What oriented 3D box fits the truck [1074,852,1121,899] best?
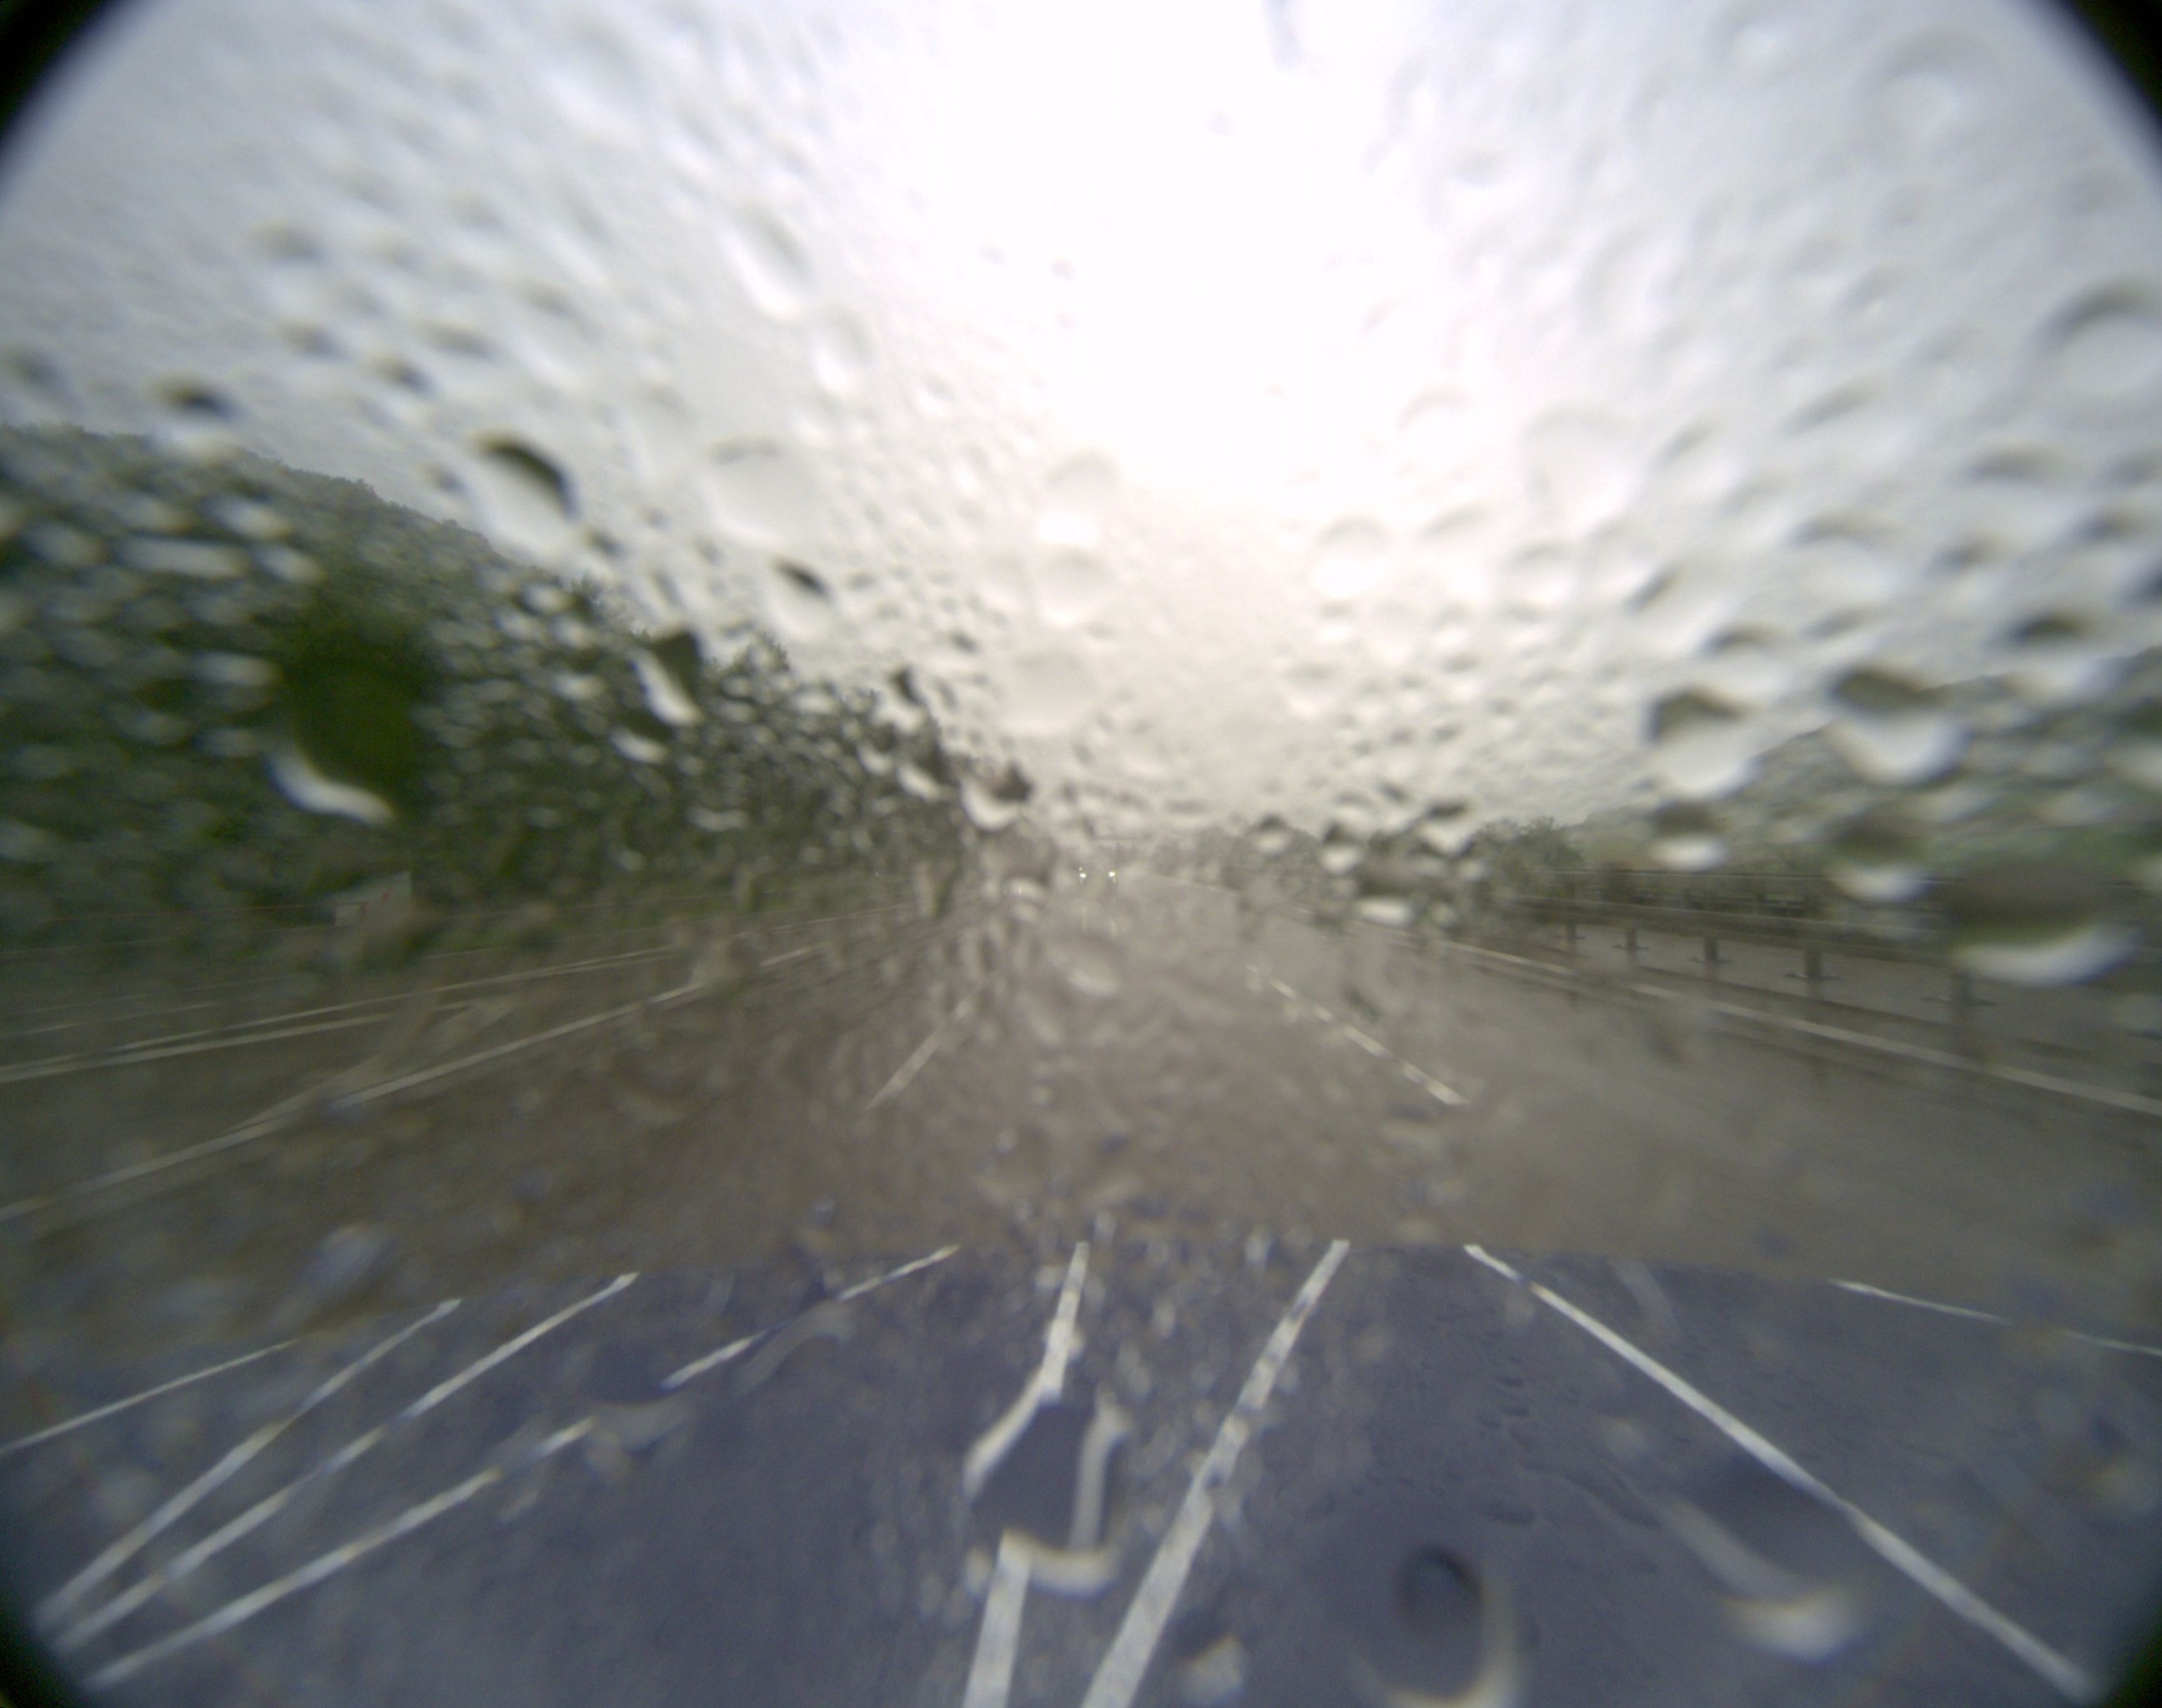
[{"bbox_3d":[0.739,0.918,36.556,1.998,2.002,7.576,-1,0,0],"label":"truck"}]

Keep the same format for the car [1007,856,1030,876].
[{"bbox_3d":[-6.807,1.284,82.636,1.859,2.002,4.001,-2,0,4],"label":"car"}]
